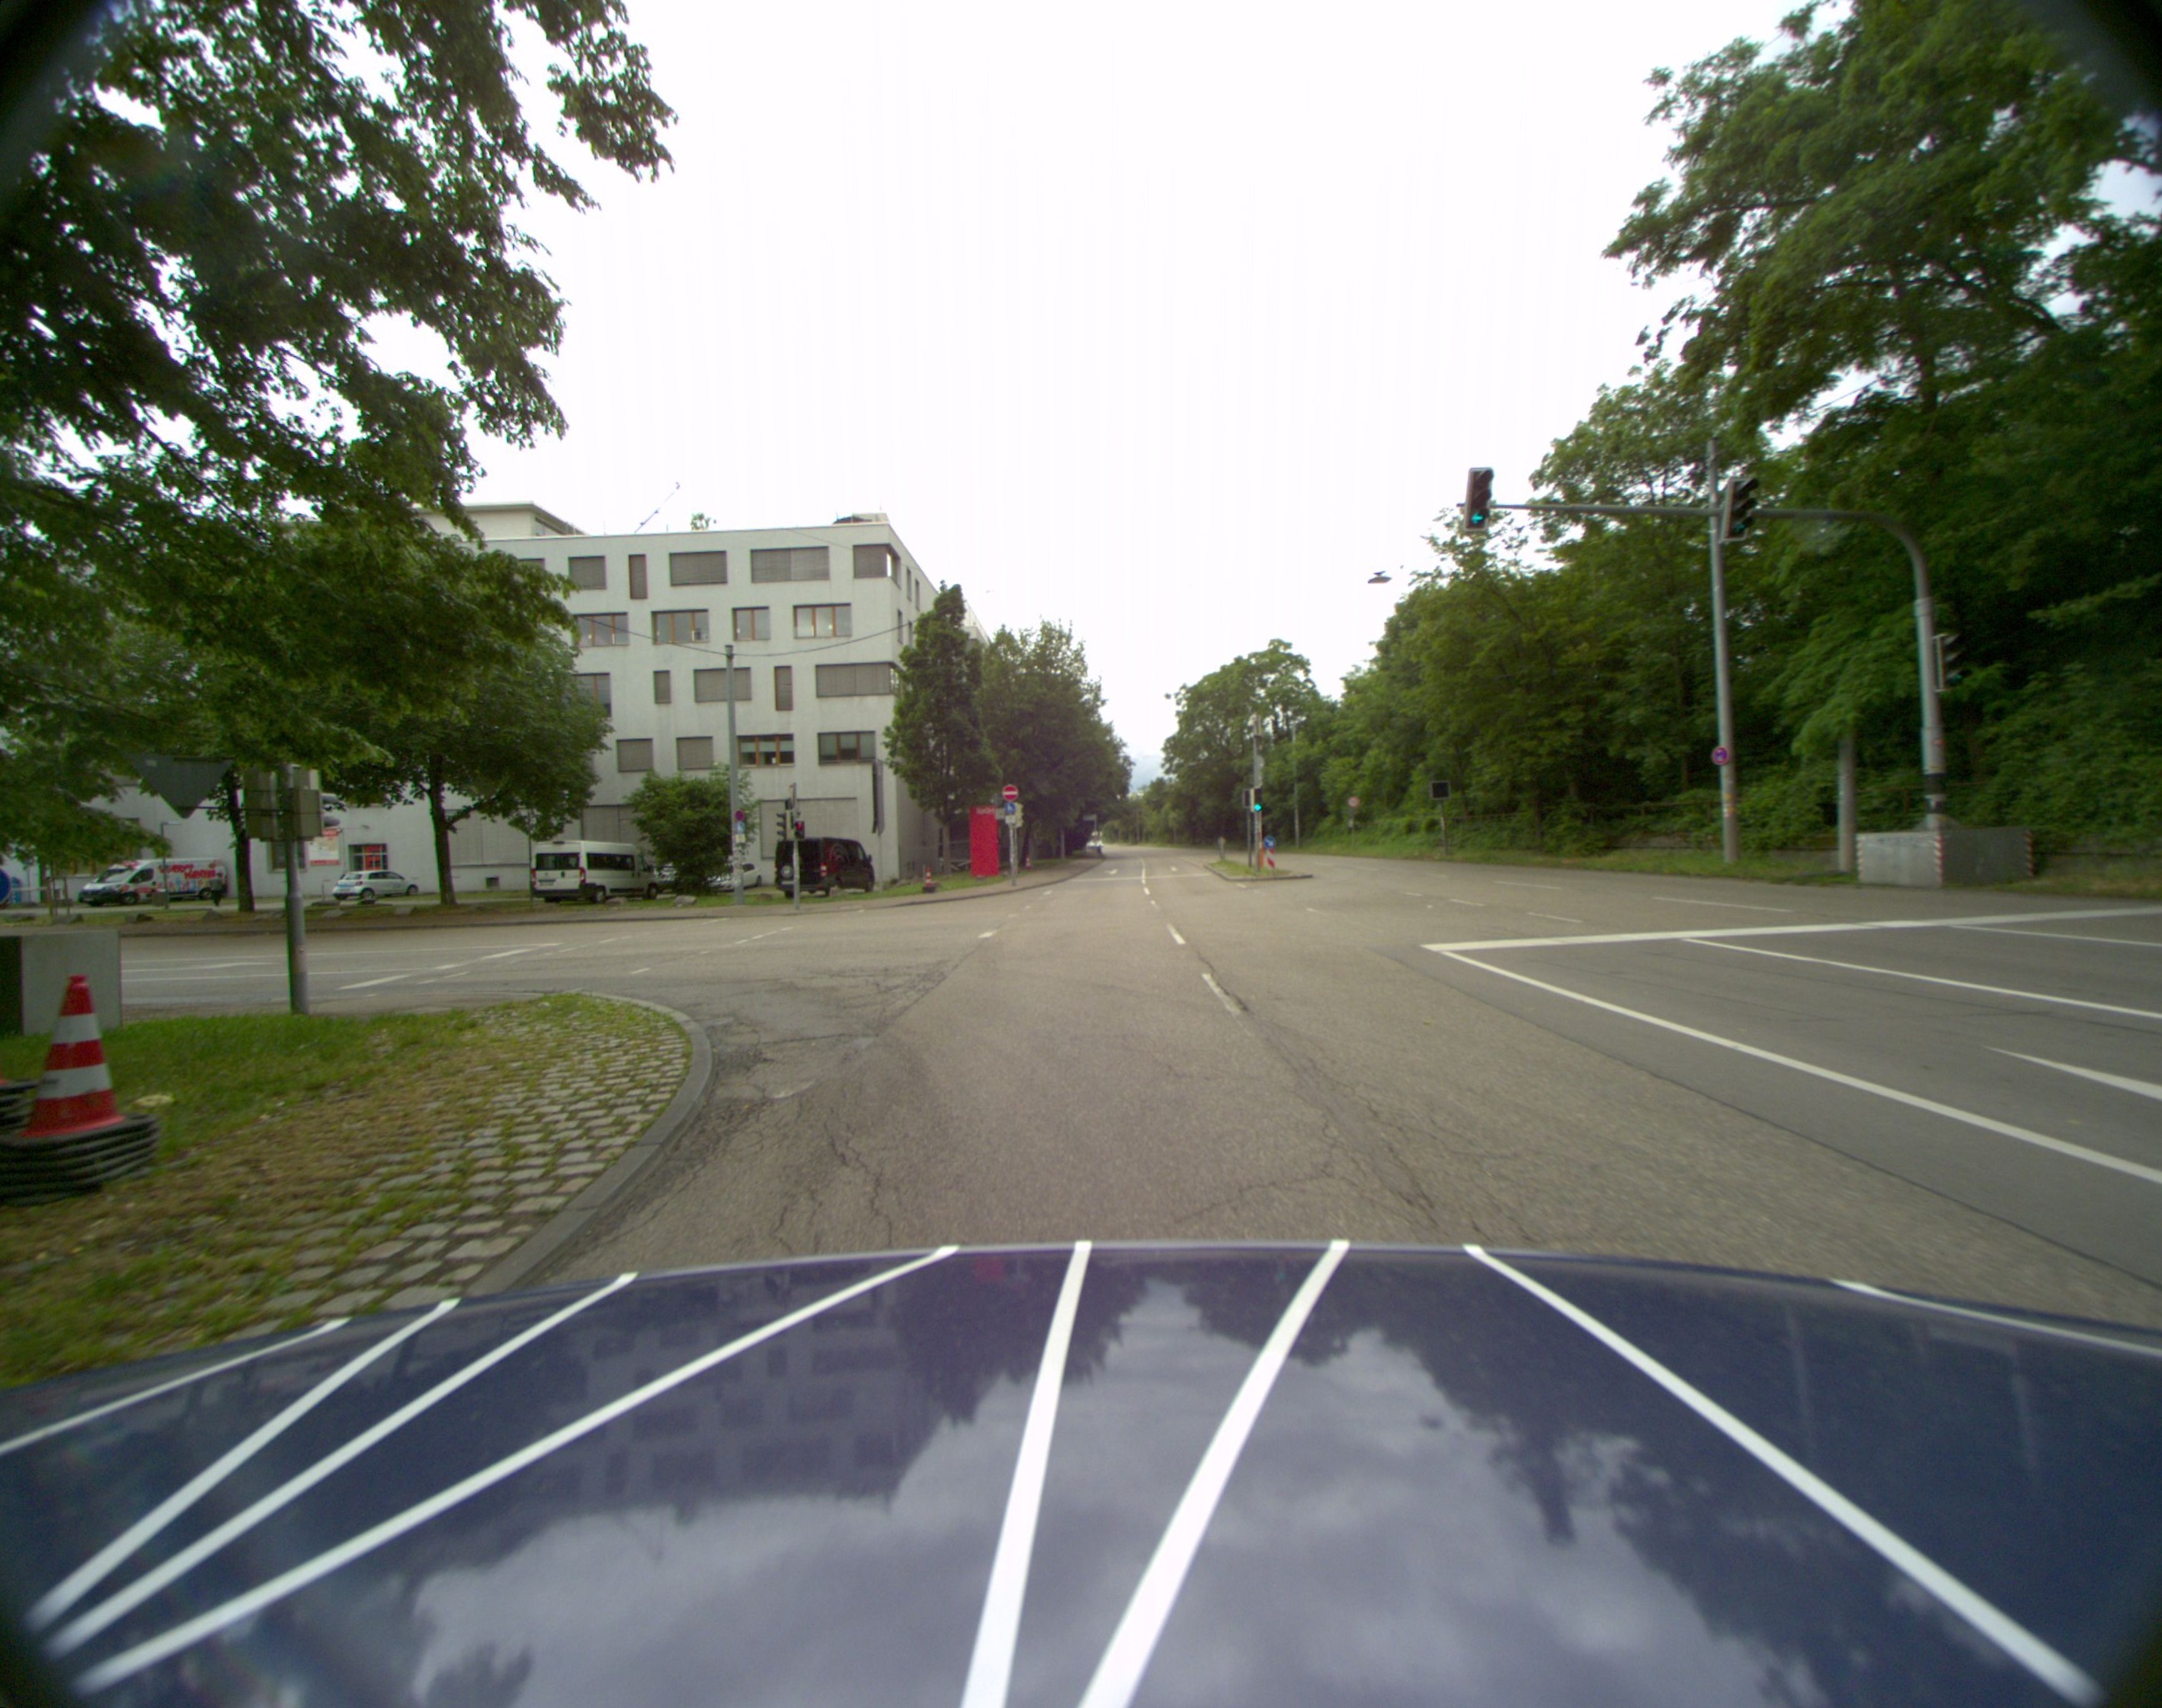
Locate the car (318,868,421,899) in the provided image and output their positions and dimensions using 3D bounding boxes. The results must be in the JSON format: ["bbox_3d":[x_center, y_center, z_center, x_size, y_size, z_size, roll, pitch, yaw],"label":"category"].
[{"bbox_3d":[-39.271,1.574,42.061,1.713,1.411,4.012,-2,2,4],"label":"car"}]

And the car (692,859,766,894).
[{"bbox_3d":[-18.941,1.155,41.093,1.856,1.452,4.074,-2,4,2],"label":"car"}]

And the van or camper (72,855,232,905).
[{"bbox_3d":[-51.718,1.351,42.524,2.256,2.412,5.268,-2,2,2],"label":"van or camper"}]

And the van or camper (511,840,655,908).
[{"bbox_3d":[-19.732,0.713,30.476,2.155,2.409,5.186,-2,0,1],"label":"van or camper"}]

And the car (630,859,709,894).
[{"bbox_3d":[-22.054,1.170,40.926,1.842,1.521,4.080,-2,3,1],"label":"car"}]

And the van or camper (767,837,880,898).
[{"bbox_3d":[-10.001,0.536,30.115,2.168,2.097,5.646,-2,-1,4],"label":"van or camper"}]
